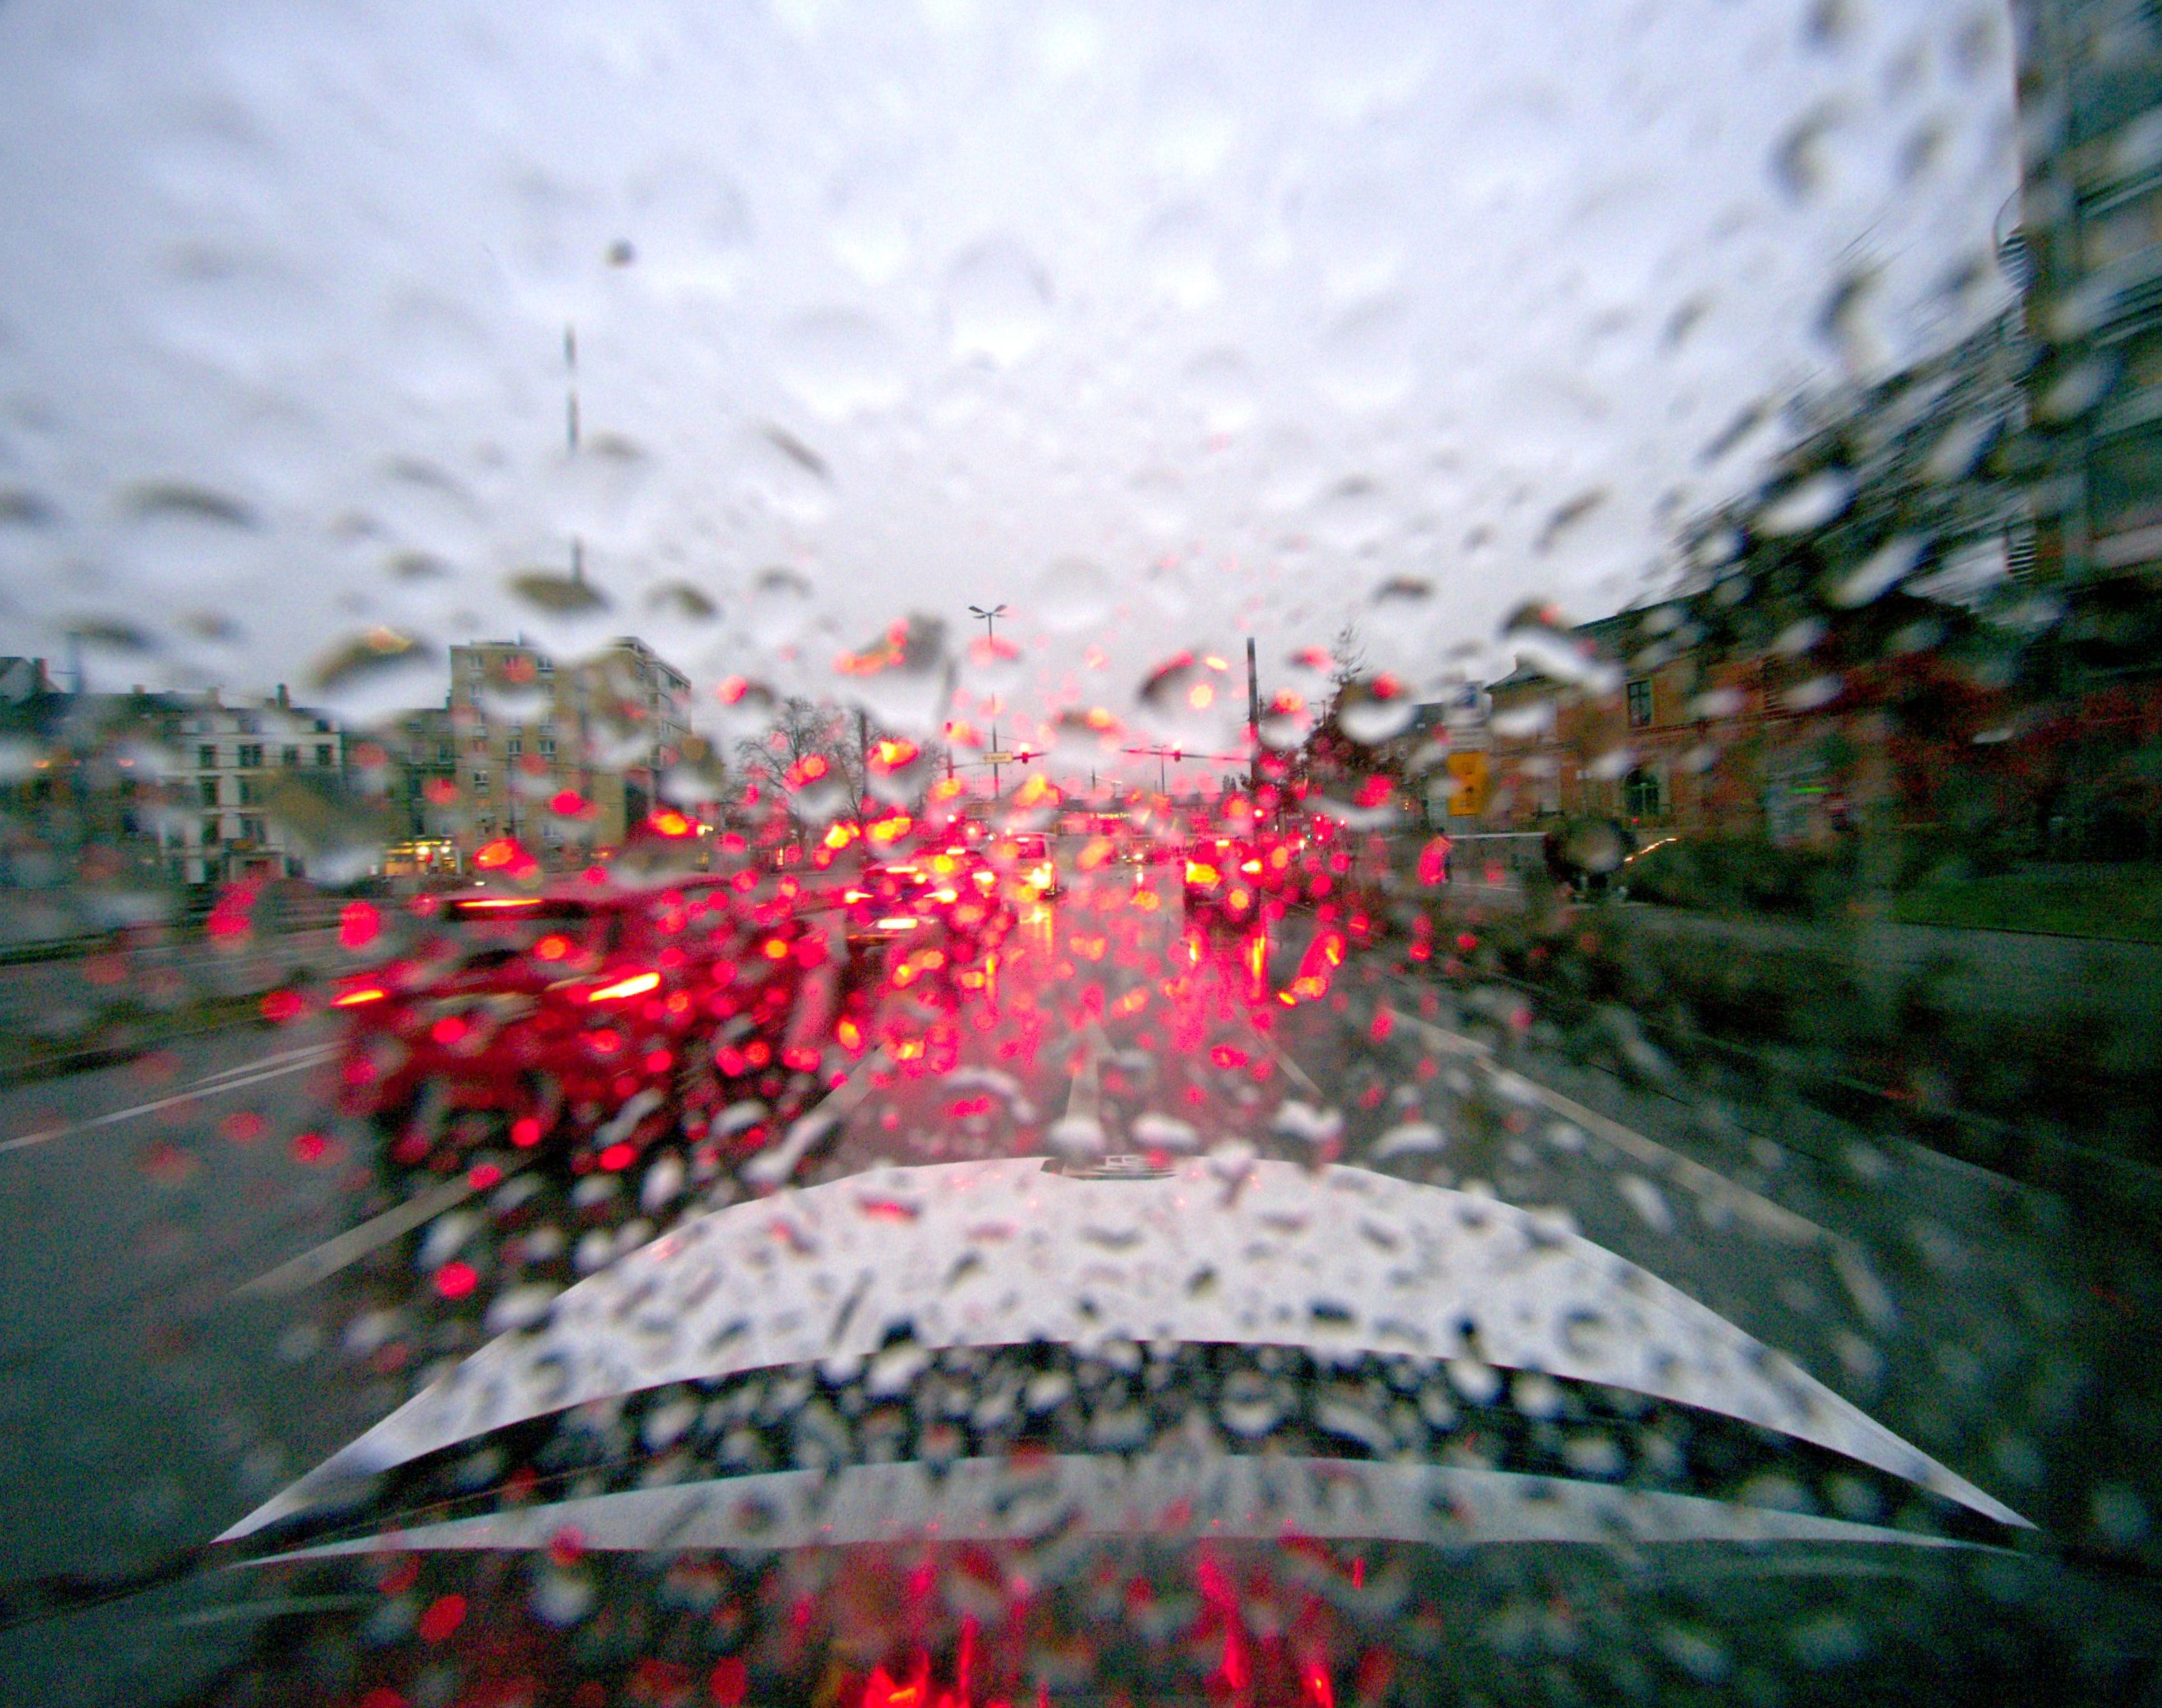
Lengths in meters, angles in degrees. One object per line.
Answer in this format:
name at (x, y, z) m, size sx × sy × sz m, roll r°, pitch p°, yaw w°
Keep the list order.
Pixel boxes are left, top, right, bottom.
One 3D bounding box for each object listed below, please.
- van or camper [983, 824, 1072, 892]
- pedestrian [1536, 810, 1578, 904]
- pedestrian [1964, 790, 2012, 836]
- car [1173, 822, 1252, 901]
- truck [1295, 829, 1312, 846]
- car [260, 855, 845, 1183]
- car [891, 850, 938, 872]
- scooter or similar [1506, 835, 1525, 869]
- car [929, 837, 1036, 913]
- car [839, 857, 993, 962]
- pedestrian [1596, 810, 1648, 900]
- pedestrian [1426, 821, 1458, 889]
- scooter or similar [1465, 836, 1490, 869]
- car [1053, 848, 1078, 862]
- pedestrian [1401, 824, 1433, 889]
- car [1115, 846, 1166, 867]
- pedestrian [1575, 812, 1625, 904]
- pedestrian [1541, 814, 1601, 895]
van or camper at (-1.705, 0.130, 28.016) m, size 2.190 × 2.109 × 4.996 m, roll -1°, pitch 0°, yaw 6°
pedestrian at (9.297, 0.058, 15.923) m, size 0.578 × 1.781 × 0.774 m, roll -4°, pitch -1°, yaw 29°
pedestrian at (35.083, -1.582, 31.510) m, size 0.912 × 1.704 × 0.801 m, roll -3°, pitch 0°, yaw -1°
car at (3.309, 0.139, 21.097) m, size 1.768 × 1.800 × 4.433 m, roll -1°, pitch 1°, yaw 7°
truck at (36.554, -2.748, 133.510) m, size 1.976 × 2.691 × 5.143 m, roll -3°, pitch 0°, yaw 22°
car at (-3.008, 0.772, 5.734) m, size 1.696 × 1.481 × 3.868 m, roll 1°, pitch 0°, yaw -3°
car at (-14.762, 0.622, 72.255) m, size 3.992 × 1.772 × 1.991 m, roll -3°, pitch 0°, yaw -14°
scooter or similar at (15.785, -0.085, 29.578) m, size 0.507 × 1.213 × 1.392 m, roll -2°, pitch 0°, yaw 31°
car at (-2.213, 0.437, 19.515) m, size 1.778 × 1.600 × 4.545 m, roll 0°, pitch 0°, yaw 3°
car at (-2.468, 0.759, 13.134) m, size 1.654 × 1.404 × 4.119 m, roll 0°, pitch 0°, yaw 0°
pedestrian at (10.447, 0.017, 15.745) m, size 0.711 × 1.687 × 0.765 m, roll -3°, pitch 0°, yaw 29°
pedestrian at (11.036, 0.023, 24.902) m, size 0.800 × 2.013 × 0.765 m, roll 0°, pitch 3°, yaw 29°
scooter or similar at (15.408, -0.062, 31.619) m, size 0.507 × 1.213 × 1.392 m, roll -3°, pitch 0°, yaw 40°
car at (-1.721, 0.126, 92.755) m, size 1.800 × 1.446 × 4.015 m, roll -3°, pitch 0°, yaw 14°
pedestrian at (10.359, 0.064, 25.118) m, size 0.800 × 1.929 × 0.765 m, roll 0°, pitch 3°, yaw 29°
car at (4.777, 0.175, 65.020) m, size 1.974 × 1.514 × 4.025 m, roll -2°, pitch 0°, yaw 40°
pedestrian at (9.862, 0.077, 15.497) m, size 0.661 × 1.687 × 0.616 m, roll -4°, pitch 1°, yaw 29°
pedestrian at (11.239, 0.004, 18.703) m, size 0.852 × 1.791 × 0.745 m, roll -2°, pitch 0°, yaw -13°
